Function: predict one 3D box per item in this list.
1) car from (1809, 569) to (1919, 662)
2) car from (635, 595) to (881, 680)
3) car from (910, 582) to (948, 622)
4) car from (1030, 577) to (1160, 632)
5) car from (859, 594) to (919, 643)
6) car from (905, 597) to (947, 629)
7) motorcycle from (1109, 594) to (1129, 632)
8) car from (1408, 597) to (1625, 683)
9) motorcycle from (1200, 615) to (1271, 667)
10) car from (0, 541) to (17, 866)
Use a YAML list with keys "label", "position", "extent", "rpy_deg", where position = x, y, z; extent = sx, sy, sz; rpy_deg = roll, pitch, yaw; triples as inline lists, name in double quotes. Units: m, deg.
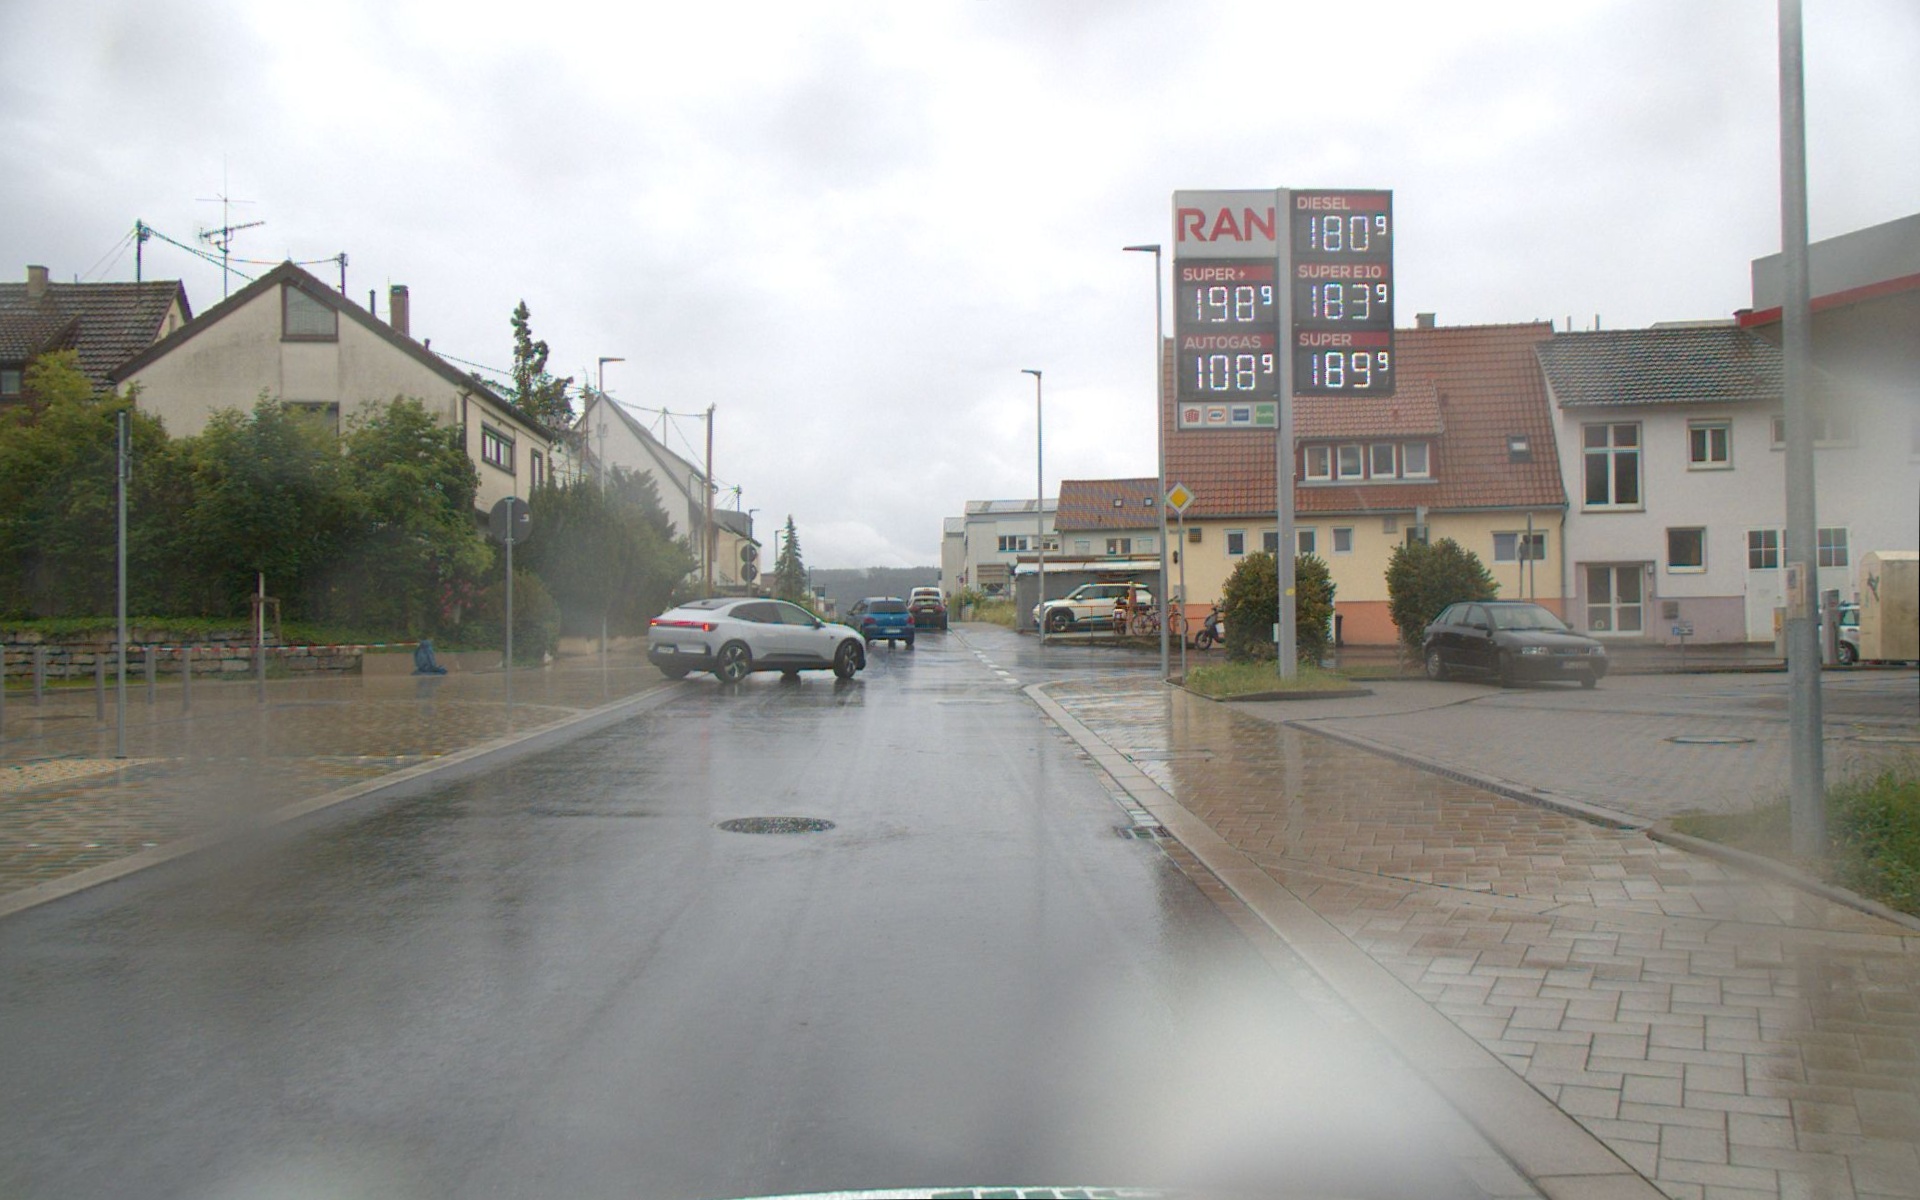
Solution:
- label: "car"
  position: [22.069, 0.332, 38.155]
  extent: [3.904, 2.049, 2.001]
  rpy_deg: [-1, 0, 3]
- label: "car"
  position: [-3.869, 0.680, 32.332]
  extent: [1.965, 1.528, 4.641]
  rpy_deg: [-1, 0, 42]
- label: "car"
  position: [-1.524, 0.084, 79.219]
  extent: [1.733, 1.857, 4.572]
  rpy_deg: [0, 0, -2]
- label: "car"
  position: [4.585, 0.174, 56.565]
  extent: [4.133, 1.638, 1.859]
  rpy_deg: [-3, -1, -4]
- label: "car"
  position: [-2.316, 0.589, 54.324]
  extent: [1.890, 1.566, 4.318]
  rpy_deg: [0, 0, -2]
- label: "car"
  position: [-1.516, 0.573, 72.399]
  extent: [1.733, 1.359, 4.318]
  rpy_deg: [0, 0, -2]
- label: "motorcycle"
  position: [4.854, 0.377, 50.473]
  extent: [0.477, 1.115, 2.001]
  rpy_deg: [0, 1, 2]
- label: "car"
  position: [9.586, 0.657, 28.859]
  extent: [1.659, 1.363, 4.328]
  rpy_deg: [-1, 0, -11]
- label: "motorcycle"
  position: [7.888, 1.174, 47.311]
  extent: [1.989, 1.482, 0.489]
  rpy_deg: [0, -1, 11]
- label: "car"
  position: [-6.032, 0.558, 6.831]
  extent: [1.799, 1.735, 4.323]
  rpy_deg: [-1, 0, 0]
